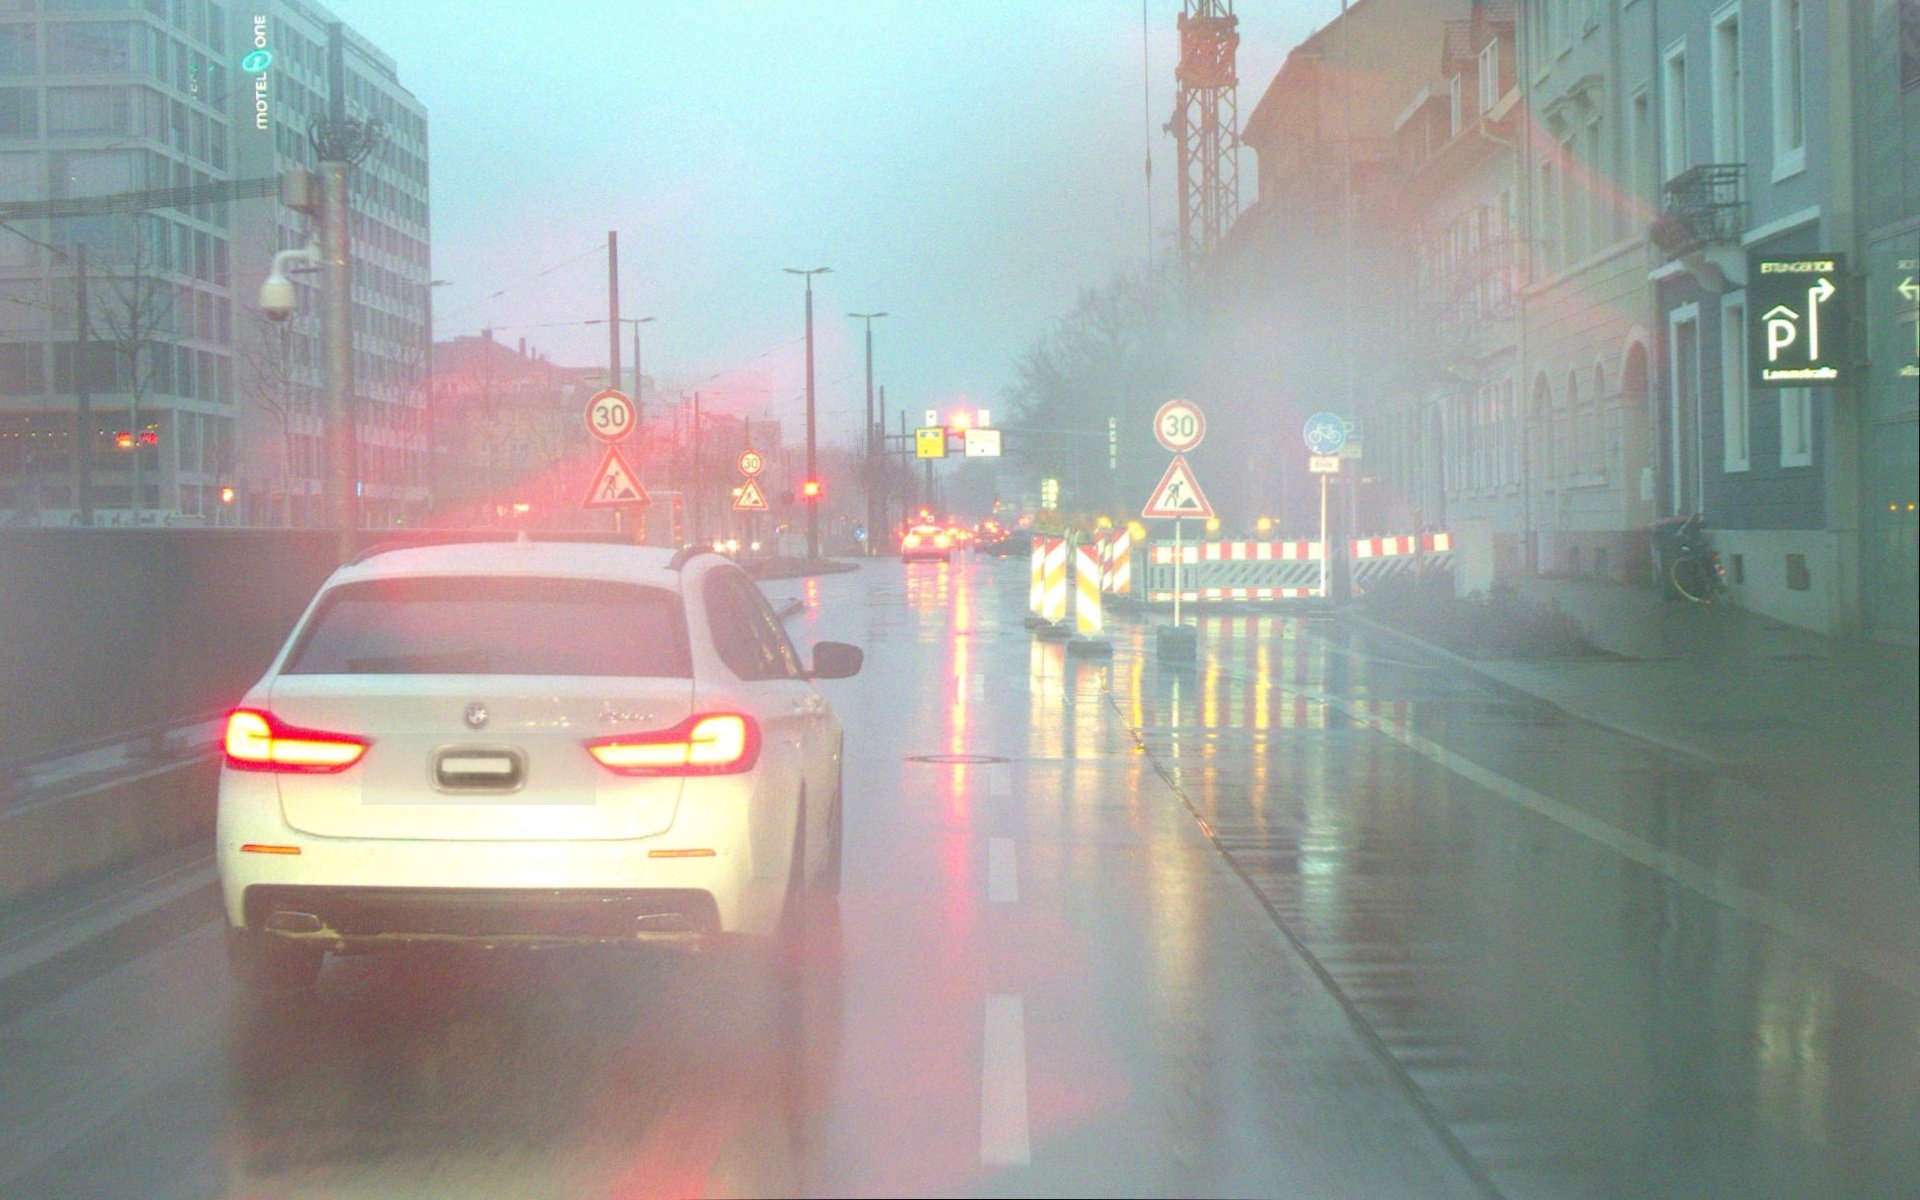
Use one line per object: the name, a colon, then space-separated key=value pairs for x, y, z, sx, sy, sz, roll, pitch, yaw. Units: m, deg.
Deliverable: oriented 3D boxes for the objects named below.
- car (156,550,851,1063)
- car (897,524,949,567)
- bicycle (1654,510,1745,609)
car: x=-1.401 y=0.563 z=12.441 sx=1.852 sy=1.460 sz=4.947 roll=0 pitch=1 yaw=0
car: x=-1.423 y=-2.125 z=133.949 sx=1.901 sy=1.636 sz=4.000 roll=0 pitch=1 yaw=1
bicycle: x=9.616 y=-0.528 z=44.747 sx=0.682 sy=1.218 sz=1.905 roll=-4 pitch=1 yaw=0
